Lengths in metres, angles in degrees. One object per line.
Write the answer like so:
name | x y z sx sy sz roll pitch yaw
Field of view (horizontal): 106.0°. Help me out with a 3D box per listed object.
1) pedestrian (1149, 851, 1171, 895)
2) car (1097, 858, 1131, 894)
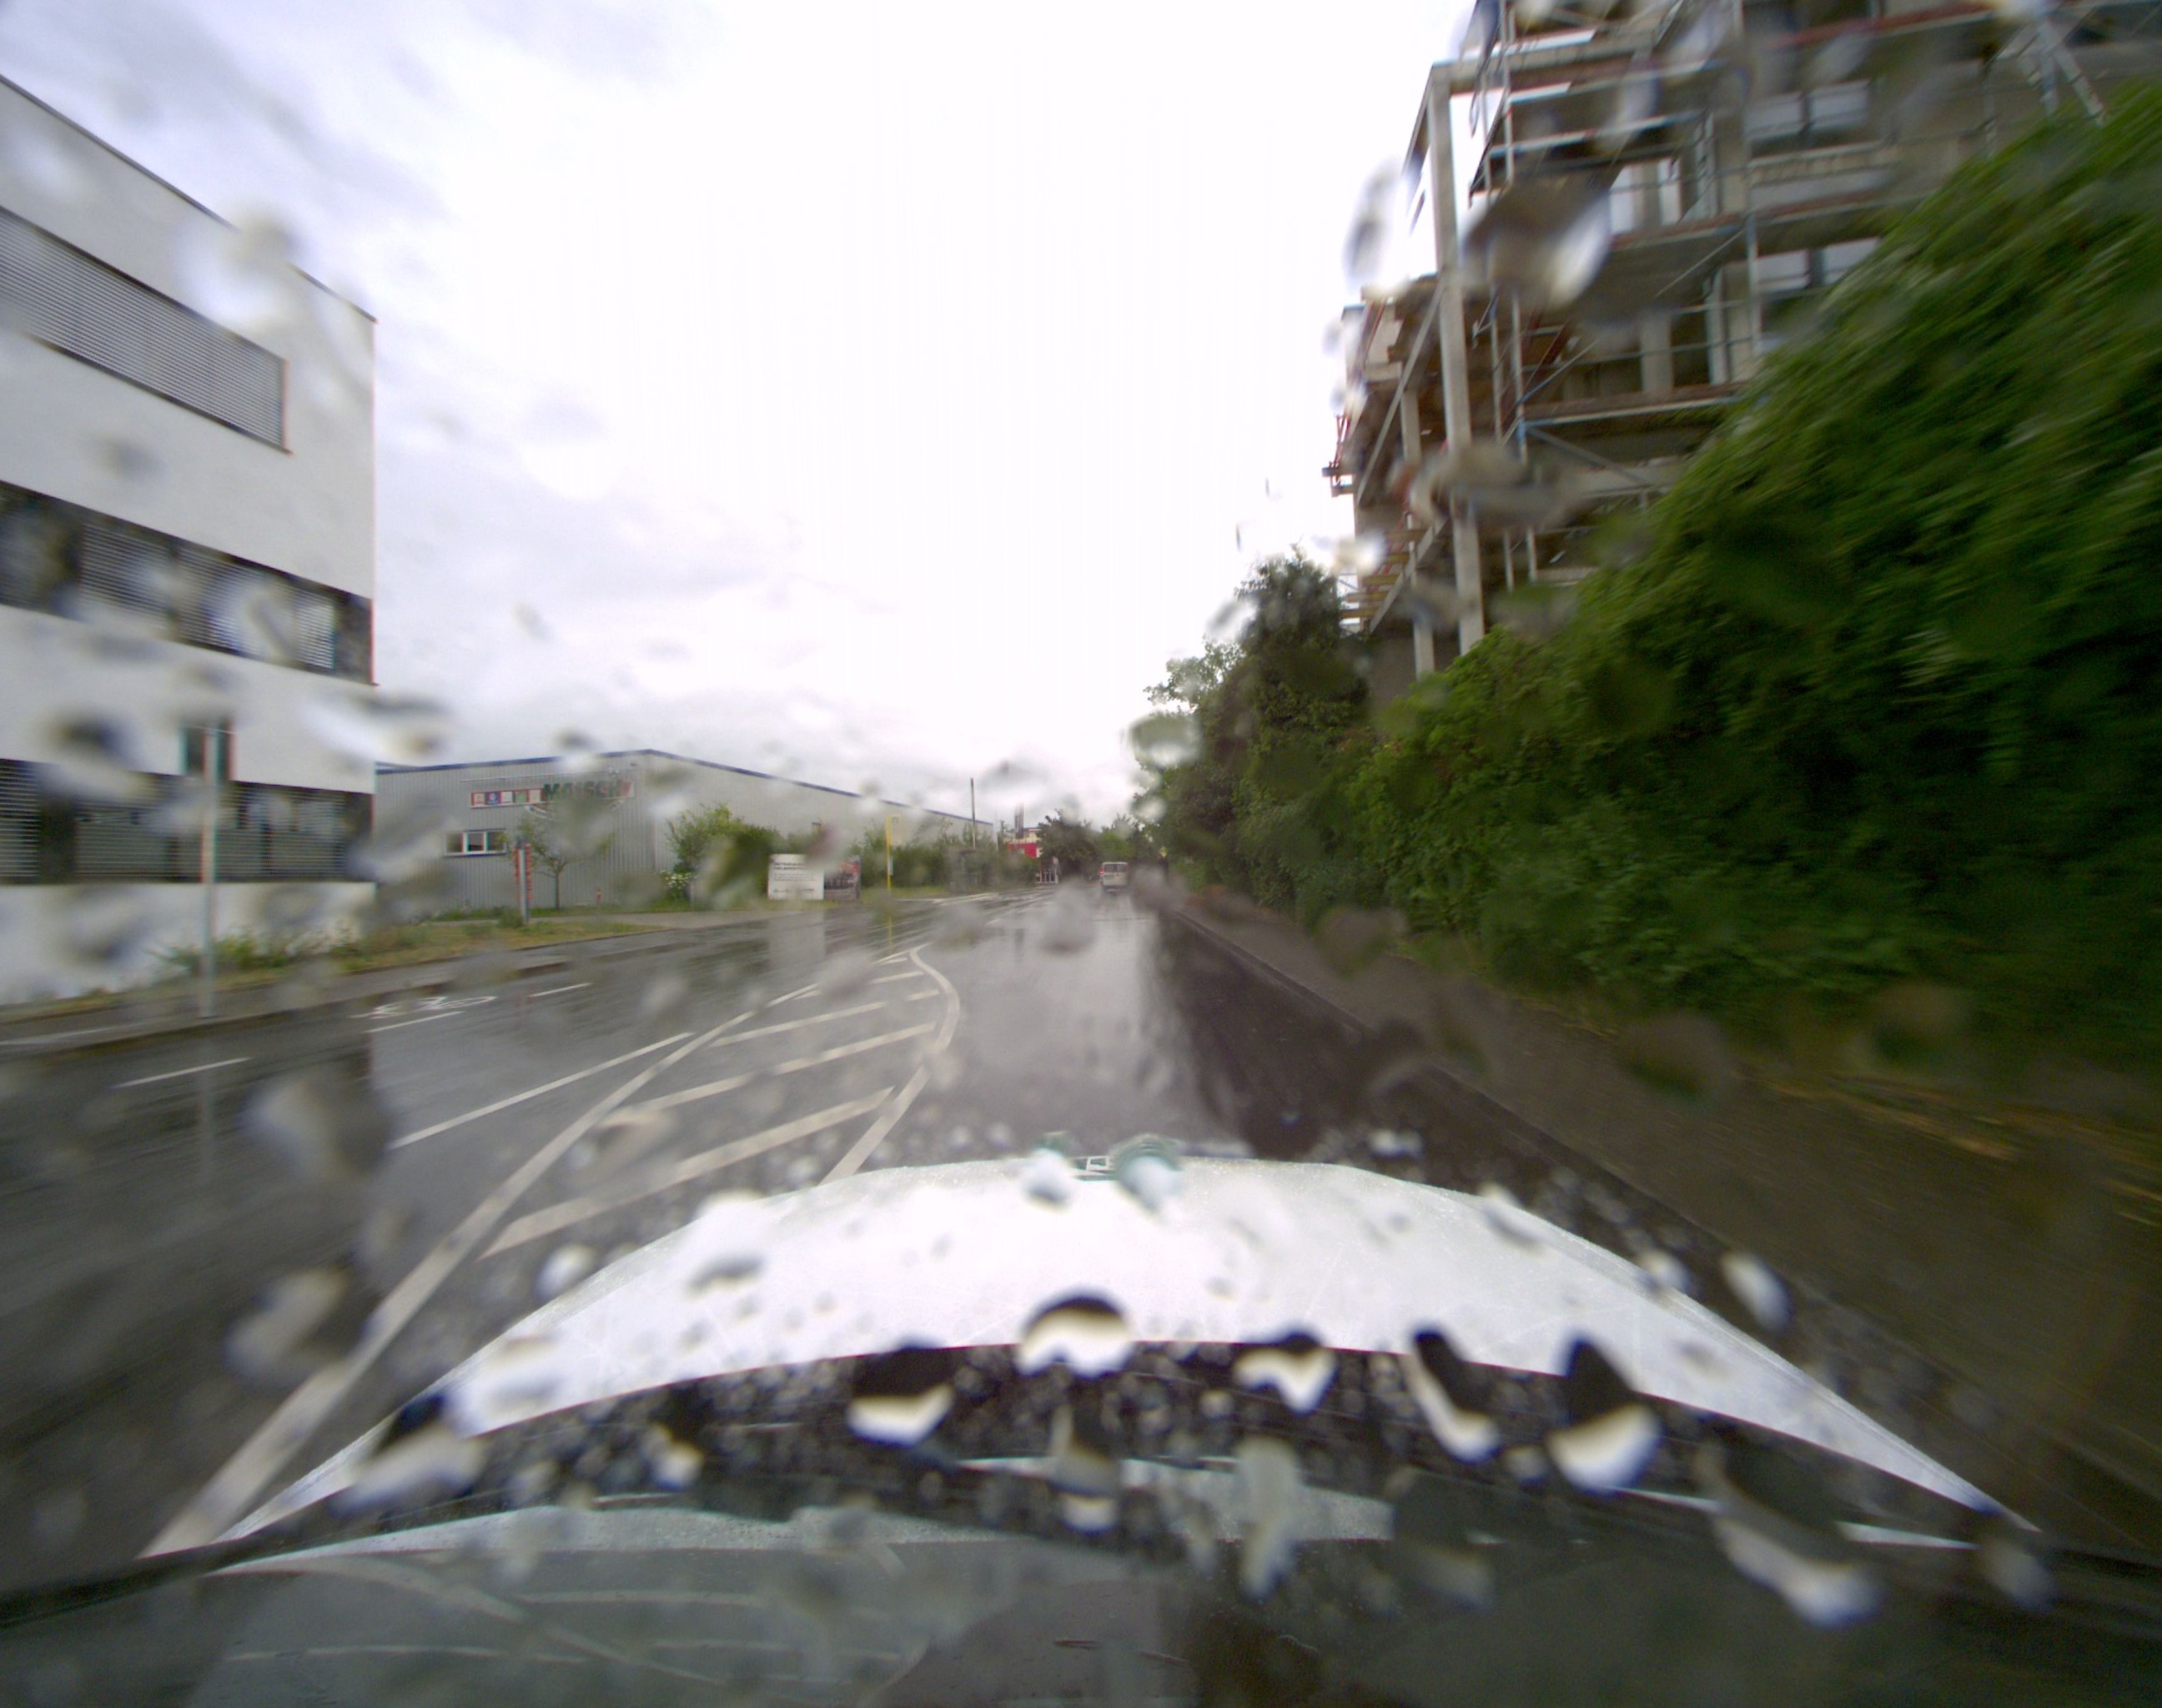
pedestrian | 3.617 0.881 37.331 0.774 1.907 0.729 -5 -2 1
car | 2.133 1.349 52.025 1.891 2.018 5.376 -4 -1 3
